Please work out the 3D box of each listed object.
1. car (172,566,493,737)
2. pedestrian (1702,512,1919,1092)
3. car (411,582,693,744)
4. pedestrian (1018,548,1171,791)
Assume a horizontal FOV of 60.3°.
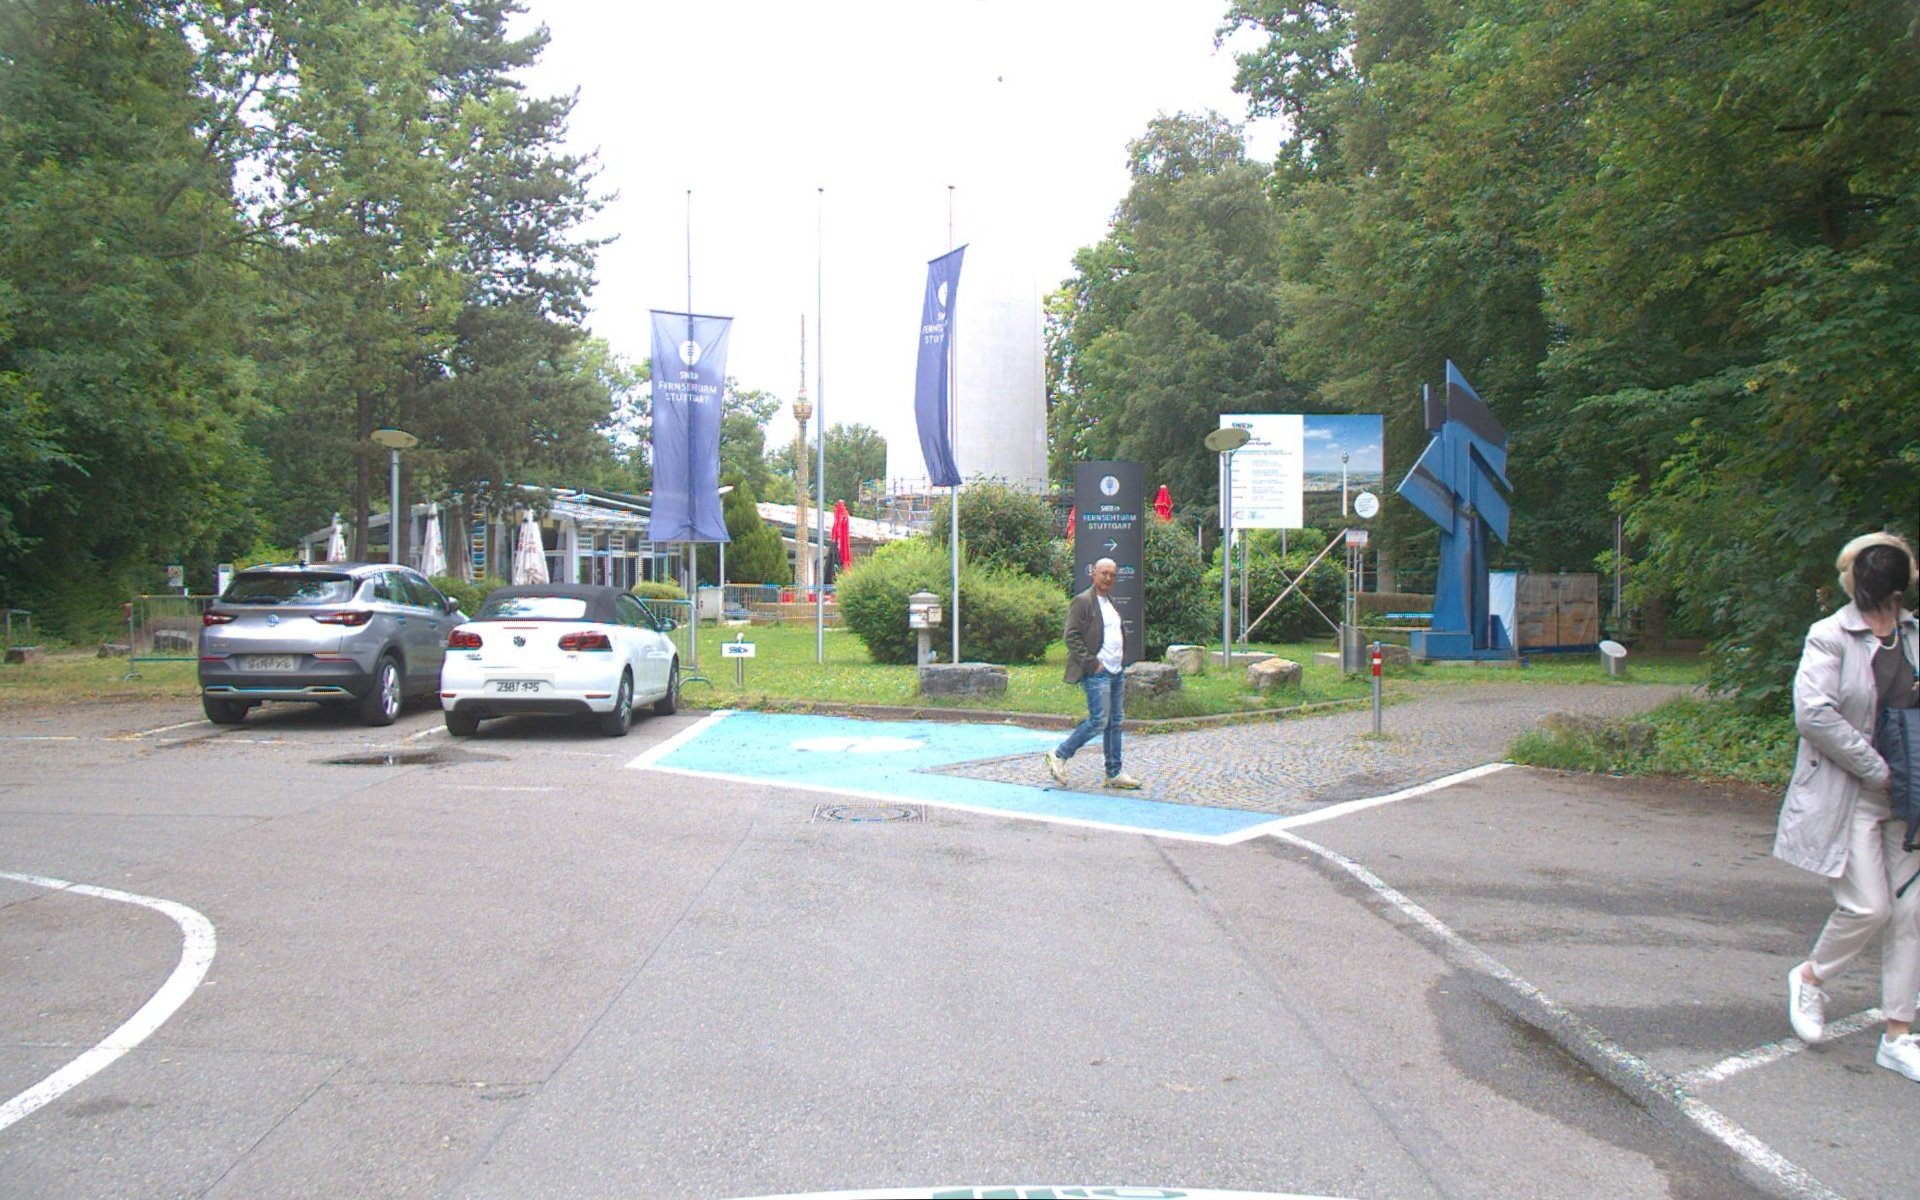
[{"bbox_3d":[-6.543,0.468,17.762,1.854,1.612,4.001,0,1,1],"label":"car"},{"bbox_3d":[3.024,0.611,5.456,0.746,1.755,0.897,1,0,1],"label":"pedestrian"},{"bbox_3d":[-4.029,0.550,17.022,1.854,1.453,4.001,0,1,1],"label":"car"},{"bbox_3d":[1.019,0.492,12.524,0.880,1.755,0.760,1,0,40],"label":"pedestrian"}]
